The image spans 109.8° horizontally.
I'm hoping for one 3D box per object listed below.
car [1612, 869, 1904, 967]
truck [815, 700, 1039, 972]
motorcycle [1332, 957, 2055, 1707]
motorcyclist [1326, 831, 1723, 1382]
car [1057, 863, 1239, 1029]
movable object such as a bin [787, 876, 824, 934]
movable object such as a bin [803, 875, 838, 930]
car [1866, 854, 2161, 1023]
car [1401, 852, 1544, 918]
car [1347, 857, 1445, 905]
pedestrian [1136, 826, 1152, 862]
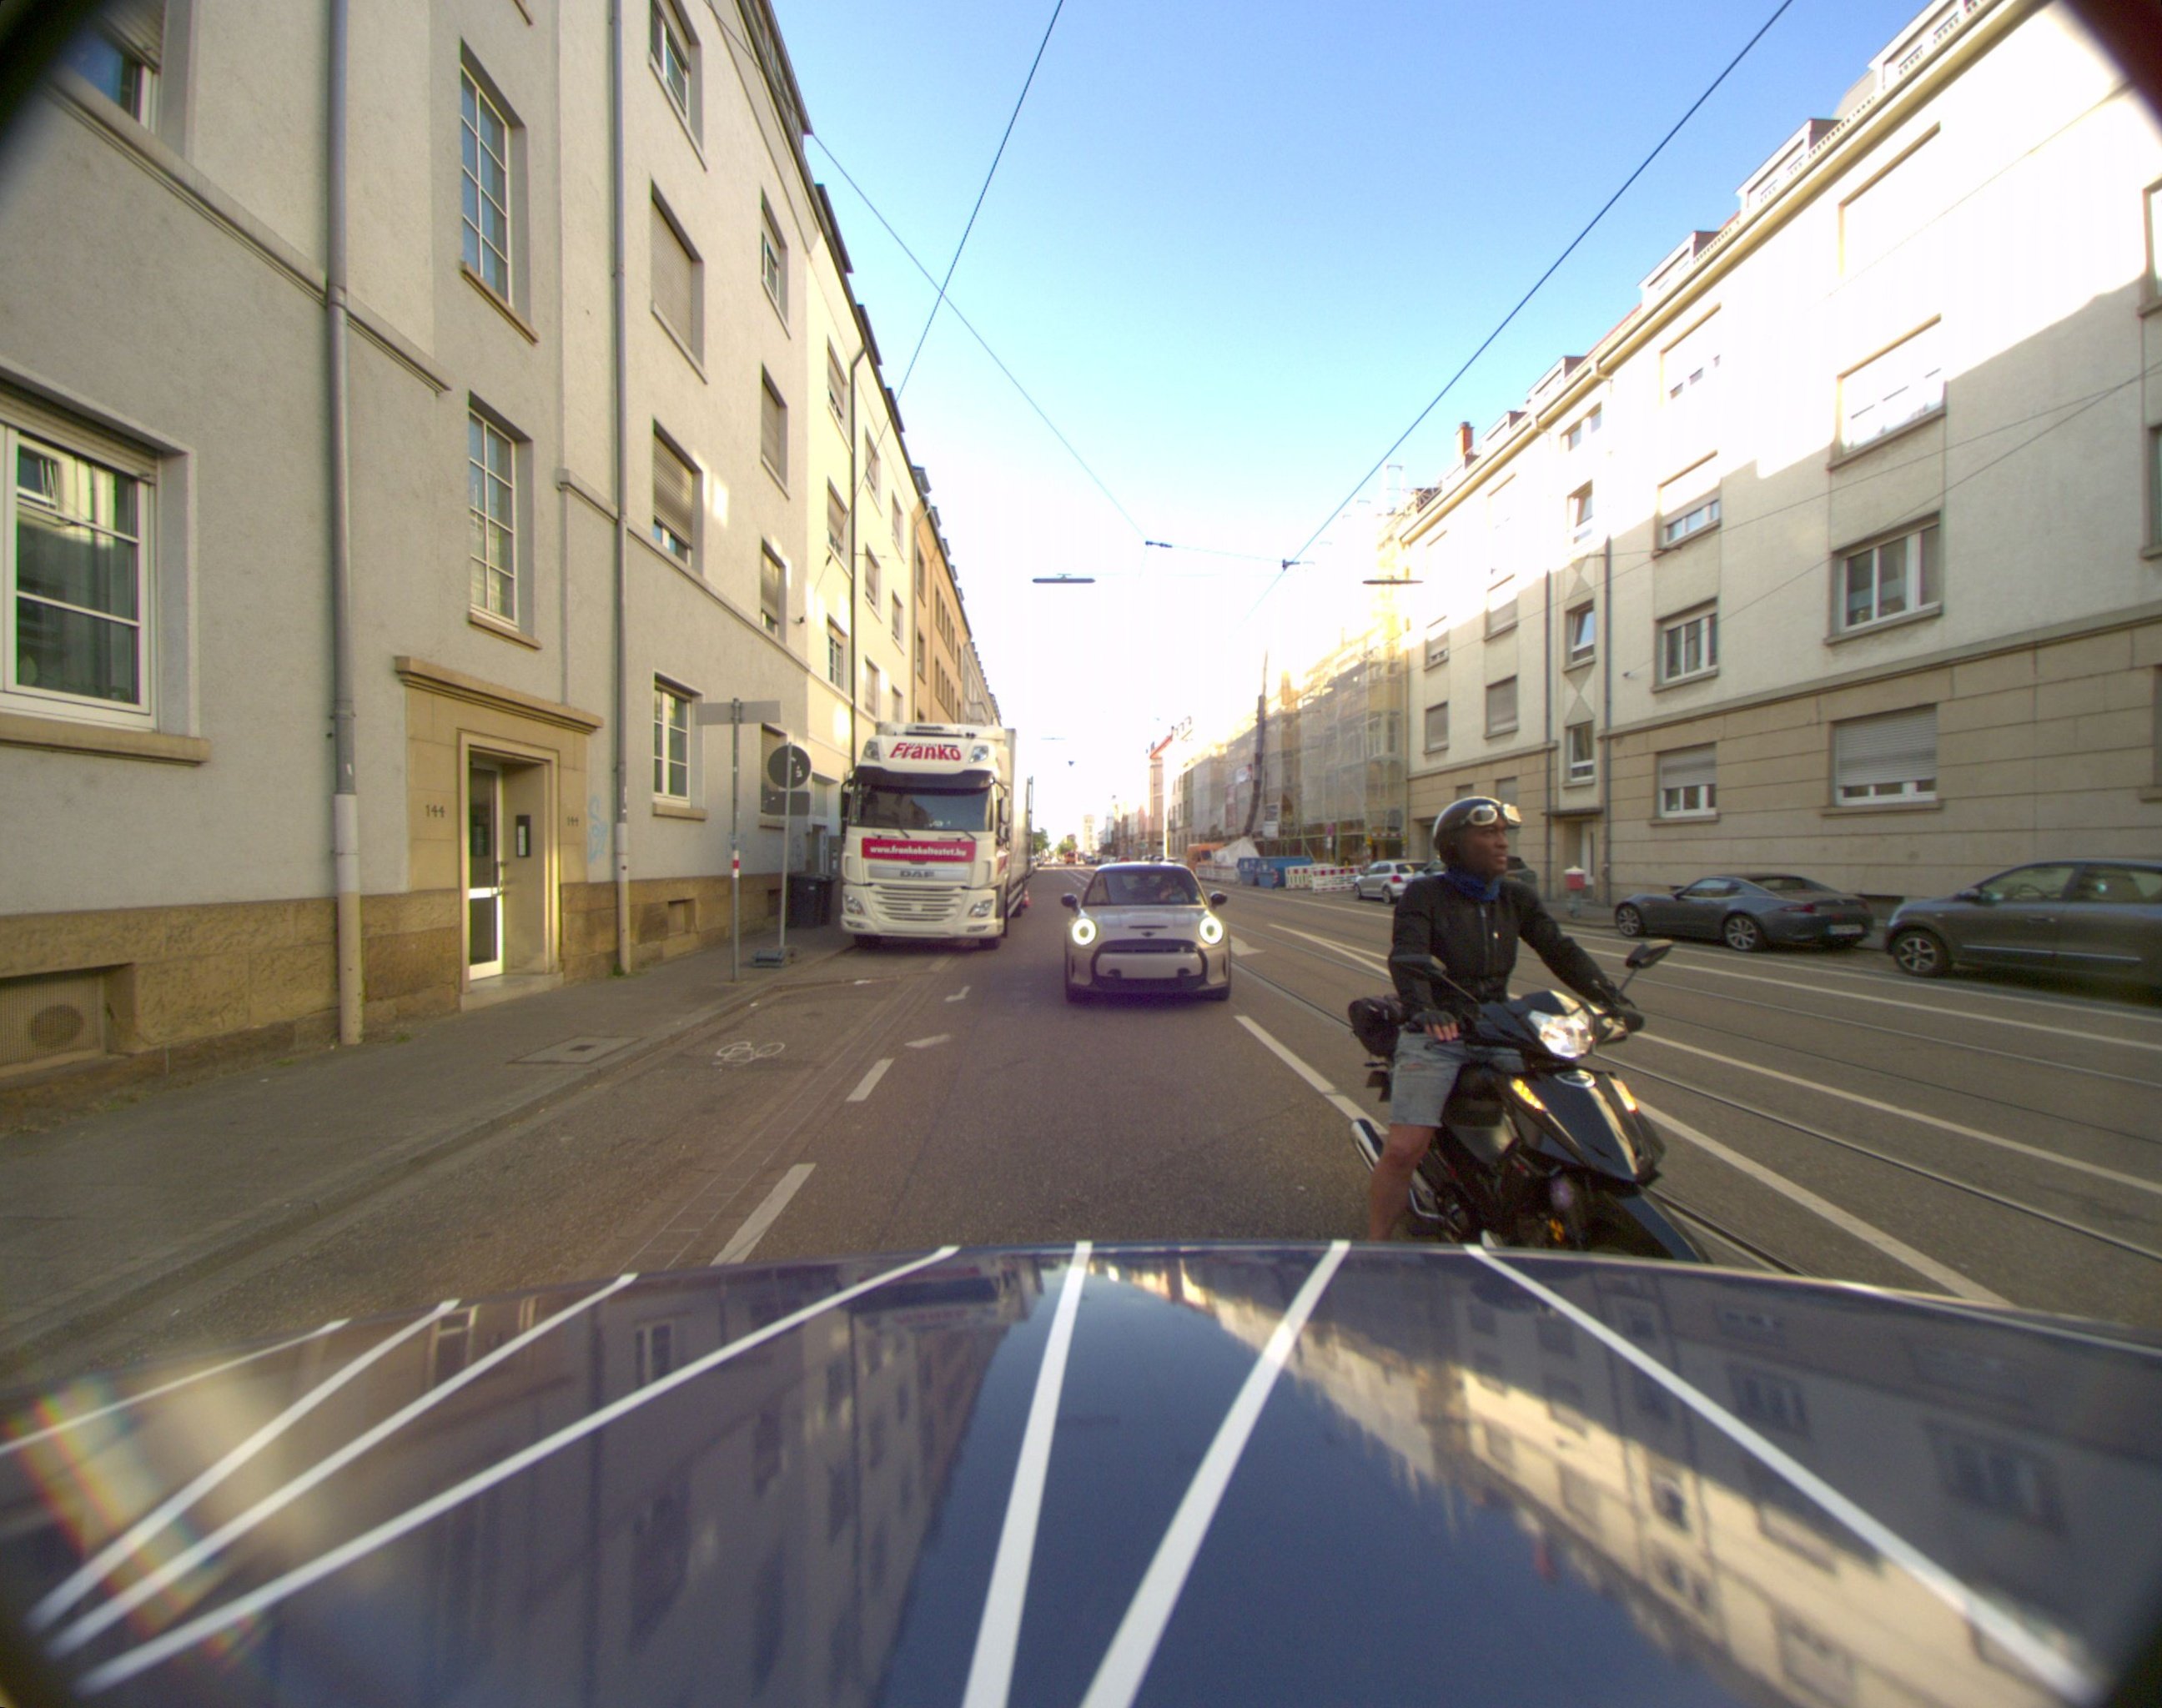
[{"bbox_3d":[11.234,0.977,12.962,1.751,1.269,3.488,-2,1,-4],"label":"car"},{"bbox_3d":[-2.599,-0.254,17.151,2.899,3.939,11.704,-2,0,-2],"label":"truck"},{"bbox_3d":[1.343,1.065,2.243,0.538,1.212,1.981,-2,1,1],"label":"motorcycle"},{"bbox_3d":[1.319,0.699,2.387,0.862,1.496,0.598,-2,1,1],"label":"motorcyclist"},{"bbox_3d":[0.619,0.882,9.082,1.692,1.495,4.000,0,0,0],"label":"car"},{"bbox_3d":[-5.405,0.993,14.941,0.512,1.085,0.495,-2,1,-4],"label":"movable object such as a bin"},{"bbox_3d":[-5.355,0.992,15.625,0.512,1.085,0.495,-2,1,-4],"label":"movable object such as a bin"},{"bbox_3d":[11.396,0.835,8.435,1.670,1.563,3.496,-2,1,-2],"label":"car"},{"bbox_3d":[10.793,0.786,21.308,1.712,1.582,4.112,-2,1,-3],"label":"car"},{"bbox_3d":[10.632,0.864,25.900,1.637,1.383,3.643,-2,1,-3],"label":"car"},{"bbox_3d":[7.830,-1.299,94.349,1.723,4.377,1.153,-2,1,2],"label":"pedestrian"}]
